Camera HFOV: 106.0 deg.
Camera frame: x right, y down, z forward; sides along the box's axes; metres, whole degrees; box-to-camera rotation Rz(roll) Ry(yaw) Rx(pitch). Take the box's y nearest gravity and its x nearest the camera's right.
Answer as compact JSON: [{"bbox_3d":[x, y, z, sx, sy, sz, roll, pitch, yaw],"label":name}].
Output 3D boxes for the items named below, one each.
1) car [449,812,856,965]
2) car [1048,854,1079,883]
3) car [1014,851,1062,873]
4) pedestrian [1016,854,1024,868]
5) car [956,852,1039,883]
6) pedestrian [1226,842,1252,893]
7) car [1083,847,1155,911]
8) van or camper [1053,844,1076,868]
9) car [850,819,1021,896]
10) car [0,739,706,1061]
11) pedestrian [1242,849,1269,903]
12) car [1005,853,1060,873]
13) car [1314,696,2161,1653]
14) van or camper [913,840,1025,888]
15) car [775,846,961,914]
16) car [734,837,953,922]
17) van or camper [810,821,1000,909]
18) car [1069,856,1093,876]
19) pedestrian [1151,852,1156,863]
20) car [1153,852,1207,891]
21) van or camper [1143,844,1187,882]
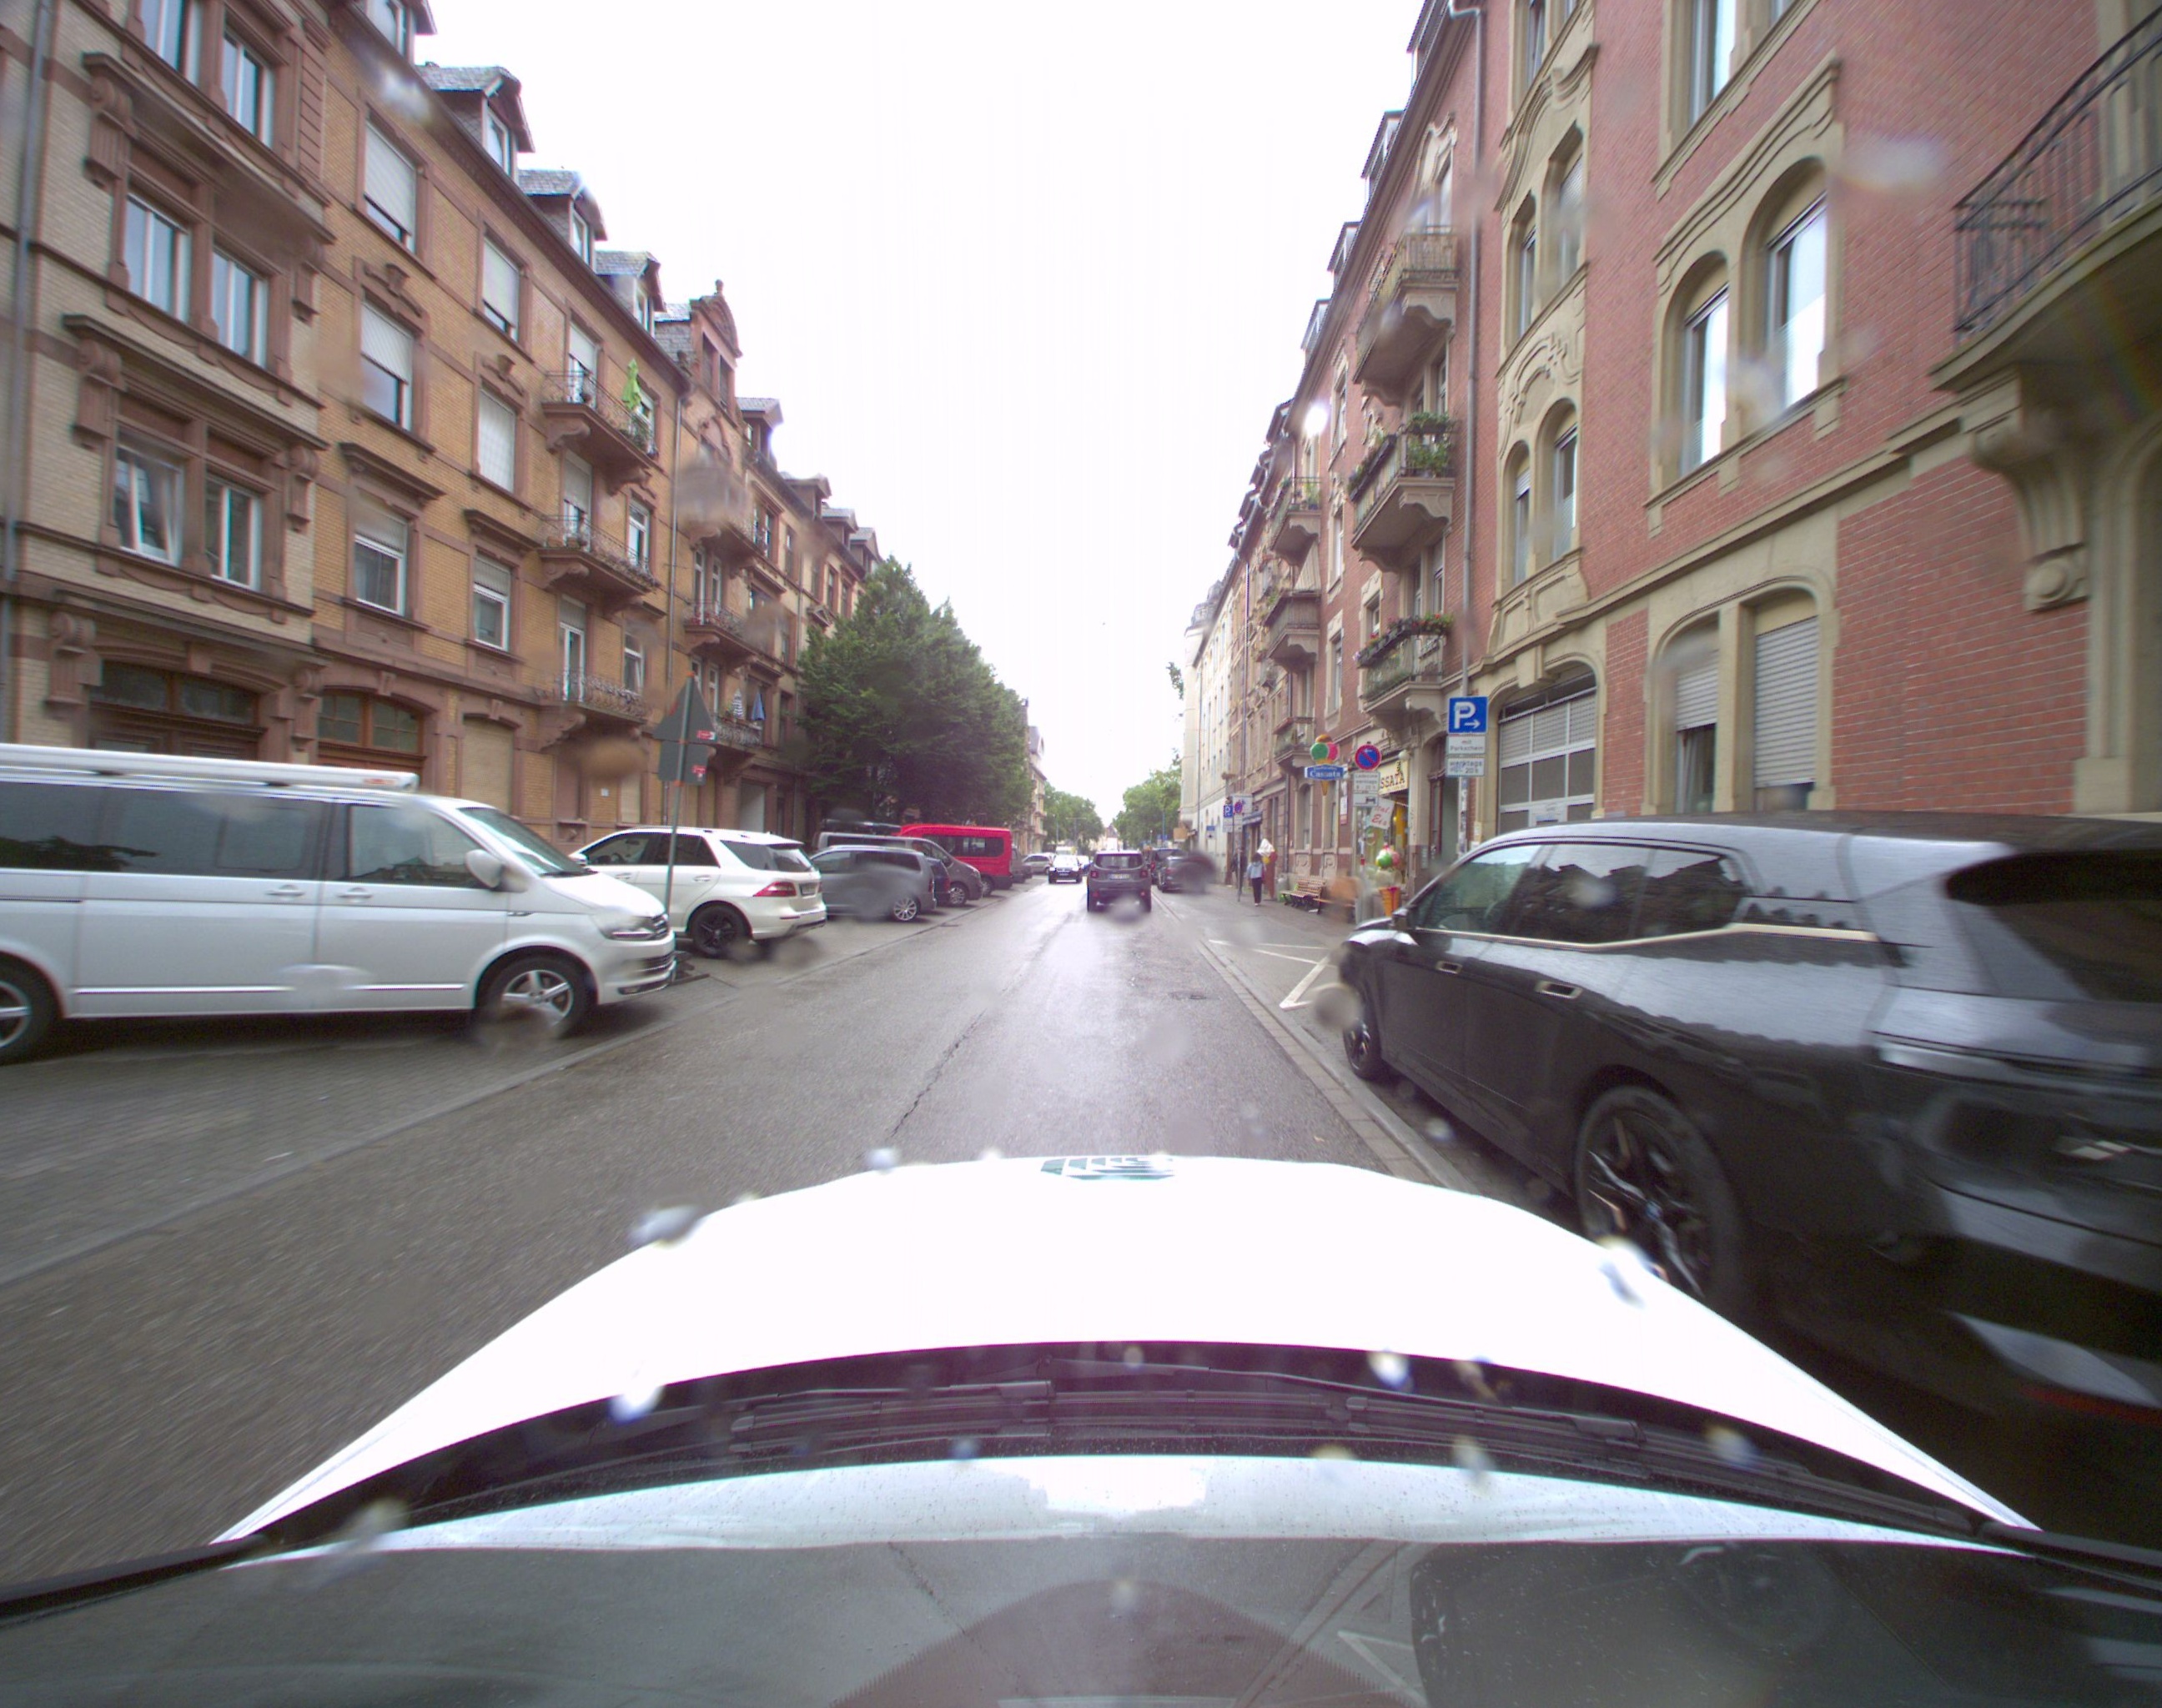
[{"bbox_3d":[-6.066,0.456,12.117,4.562,1.785,2.546,3,0,1],"label":"car"},{"bbox_3d":[-0.941,0.773,45.639,1.664,1.559,4.003,1,0,0],"label":"car"},{"bbox_3d":[-3.300,0.600,62.644,3.397,1.654,1.618,0,0,-31],"label":"car"},{"bbox_3d":[-6.948,0.767,92.369,0.705,1.551,0.609,3,0,9],"label":"pedestrian"},{"bbox_3d":[-4.363,0.723,42.973,3.997,1.447,1.748,3,0,-38],"label":"car"},{"bbox_3d":[6.067,0.515,31.300,0.672,1.934,0.815,-1,-1,37],"label":"pedestrian"},{"bbox_3d":[1.071,0.667,23.825,1.892,1.671,4.507,0,0,1],"label":"car"},{"bbox_3d":[-1.908,0.330,96.423,2.113,2.531,6.877,-3,-2,2],"label":"van or camper"},{"bbox_3d":[-5.175,0.156,29.036,5.583,2.541,2.211,1,0,-26],"label":"car"},{"bbox_3d":[-6.045,0.334,6.664,5.257,2.078,1.856,2,-1,-23],"label":"car"},{"bbox_3d":[5.253,0.655,24.592,0.676,1.613,0.810,0,0,3],"label":"pedestrian"},{"bbox_3d":[-3.565,0.650,59.768,3.728,1.452,1.668,0,0,-33],"label":"car"},{"bbox_3d":[2.748,0.606,3.928,1.986,1.779,4.827,0,0,1],"label":"car"},{"bbox_3d":[-4.824,0.446,35.267,4.462,1.975,1.764,2,0,-31],"label":"van or camper"},{"bbox_3d":[-5.426,0.667,20.783,4.357,1.504,1.743,3,0,-21],"label":"car"},{"bbox_3d":[-5.329,0.577,18.326,4.451,1.630,1.830,4,0,-24],"label":"car"},{"bbox_3d":[-5.145,0.320,23.751,5.032,2.349,2.326,1,0,-24],"label":"van or camper"},{"bbox_3d":[0.018,0.904,61.964,1.663,1.465,4.004,0,0,1],"label":"car"},{"bbox_3d":[10.438,0.498,117.628,0.688,1.711,0.684,0,0,2],"label":"pedestrian"},{"bbox_3d":[4.073,0.705,34.022,1.834,1.545,4.004,0,0,1],"label":"car"},{"bbox_3d":[4.404,0.449,43.462,2.014,1.891,5.057,0,0,2],"label":"van or camper"}]
